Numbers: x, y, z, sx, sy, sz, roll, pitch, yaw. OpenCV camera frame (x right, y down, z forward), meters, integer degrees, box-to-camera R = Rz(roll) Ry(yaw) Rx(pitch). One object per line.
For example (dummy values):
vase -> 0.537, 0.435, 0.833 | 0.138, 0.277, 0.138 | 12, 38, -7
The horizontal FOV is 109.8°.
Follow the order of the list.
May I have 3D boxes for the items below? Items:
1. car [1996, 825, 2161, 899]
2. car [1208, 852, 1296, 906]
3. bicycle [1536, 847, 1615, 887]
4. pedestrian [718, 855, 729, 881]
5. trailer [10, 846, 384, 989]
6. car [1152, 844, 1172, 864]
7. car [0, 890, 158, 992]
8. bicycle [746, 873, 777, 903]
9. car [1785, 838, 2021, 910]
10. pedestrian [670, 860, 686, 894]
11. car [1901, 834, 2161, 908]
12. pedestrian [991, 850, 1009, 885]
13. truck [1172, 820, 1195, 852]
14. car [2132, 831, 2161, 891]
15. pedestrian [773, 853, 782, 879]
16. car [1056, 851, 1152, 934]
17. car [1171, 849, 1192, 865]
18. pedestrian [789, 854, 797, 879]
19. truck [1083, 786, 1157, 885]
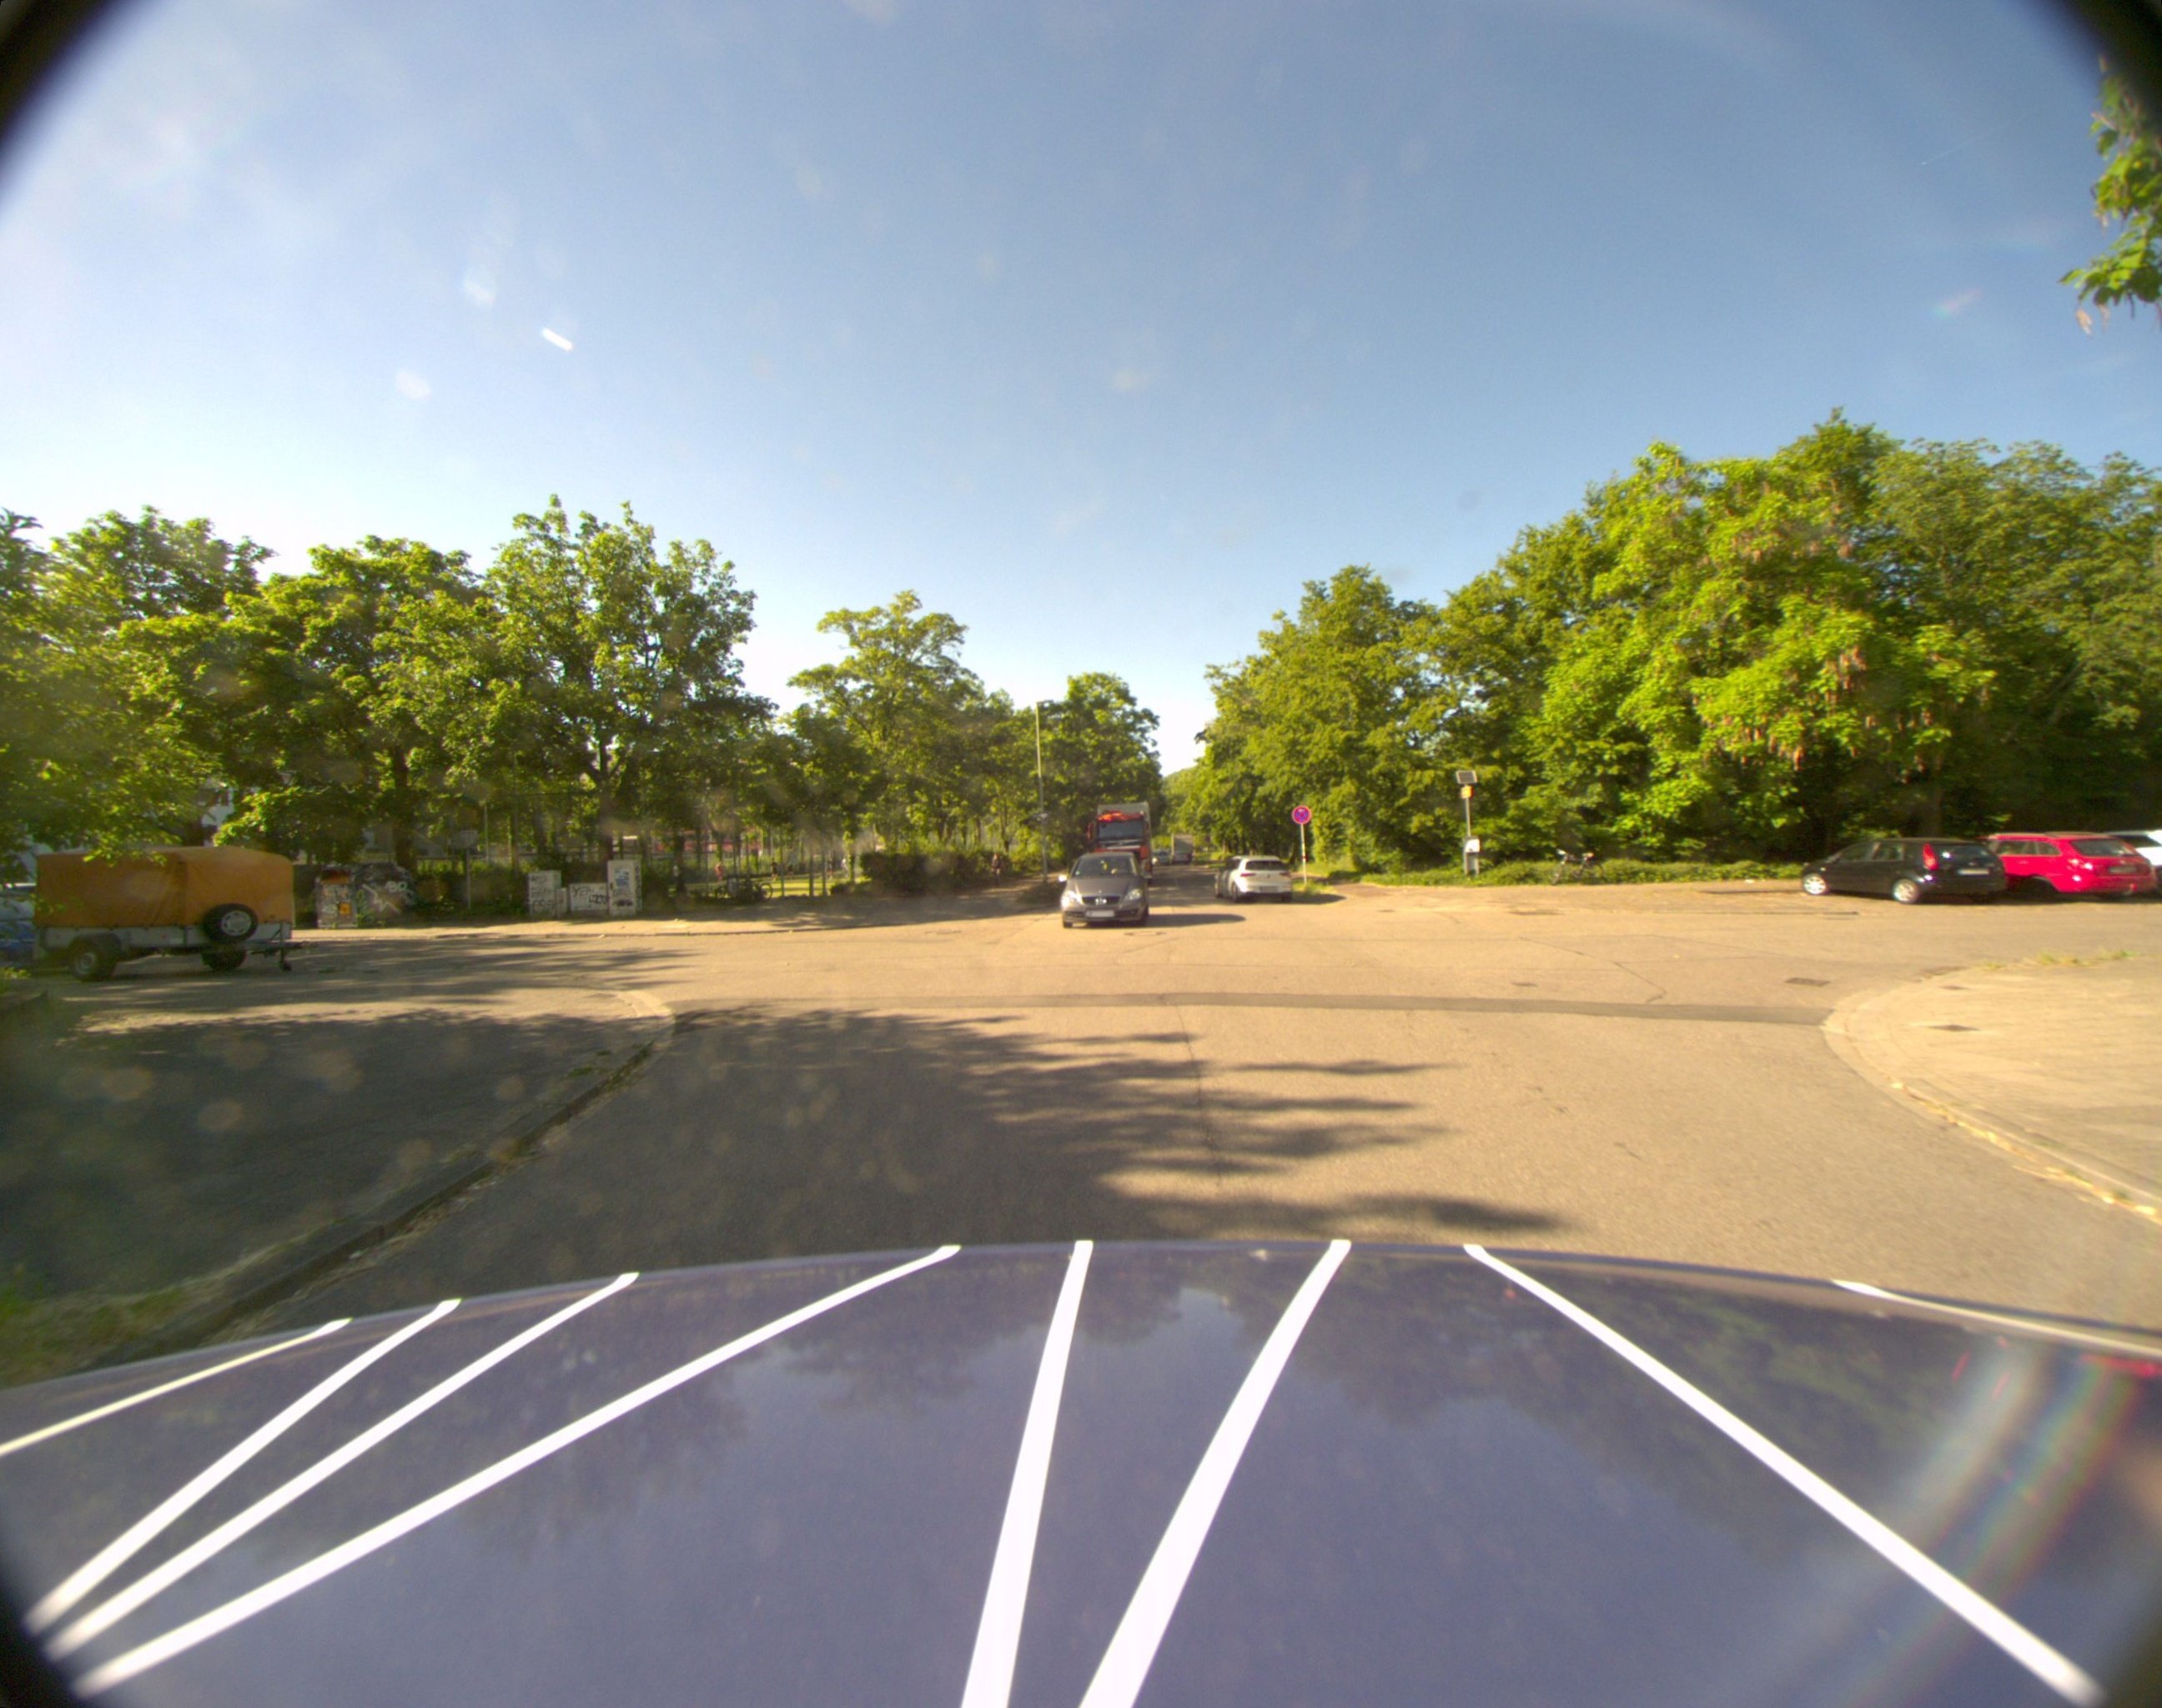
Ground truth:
car -> 24.971, 0.139, 18.167 | 1.673, 1.594, 3.886 | -1, 2, 5
car -> 5.384, 0.732, 24.456 | 1.666, 1.458, 4.186 | 0, 2, -3
bicycle -> 15.164, 0.392, 23.360 | 1.902, 1.146, 0.761 | -1, 4, 16
pedestrian -> -21.357, 0.842, 45.400 | 0.437, 1.527, 0.429 | -2, 1, 2
trailer -> -14.293, 0.980, 12.449 | 4.070, 2.107, 1.979 | -1, 0, 6
car -> 7.907, -0.038, 74.195 | 1.844, 1.795, 4.030 | -2, 1, 6
car -> -19.102, 1.481, 13.291 | 3.925, 1.503, 1.890 | -1, 2, 7
bicycle -> -10.858, 1.142, 25.829 | 0.909, 0.953, 0.294 | -2, 1, -42
car -> 19.434, 0.396, 18.255 | 1.673, 1.479, 3.886 | -1, 2, 5
pedestrian -> -18.235, 1.030, 34.398 | 0.437, 1.527, 0.429 | -2, 1, 2
car -> 22.020, 0.313, 17.784 | 1.673, 1.479, 3.886 | -1, 2, 5
pedestrian -> -3.844, 0.639, 35.932 | 0.641, 1.629, 0.641 | -2, 1, 9
truck -> 13.770, -2.447, 102.557 | 2.802, 3.996, 9.628 | 0, 2, 7
car -> 27.556, 0.200, 17.431 | 1.673, 1.479, 3.886 | -1, 2, 5
pedestrian -> -18.155, 0.727, 45.426 | 0.320, 1.527, 0.393 | -2, 1, 2
car -> 0.627, 0.779, 17.161 | 1.854, 1.635, 3.757 | -2, 0, 6
car -> 10.827, 0.299, 82.252 | 1.998, 1.576, 4.001 | -2, 0, 5
pedestrian -> -18.245, 0.784, 48.187 | 0.317, 1.527, 0.402 | -2, 1, 2
truck -> 2.174, -0.867, 39.031 | 3.165, 4.320, 10.586 | -2, 1, 5
